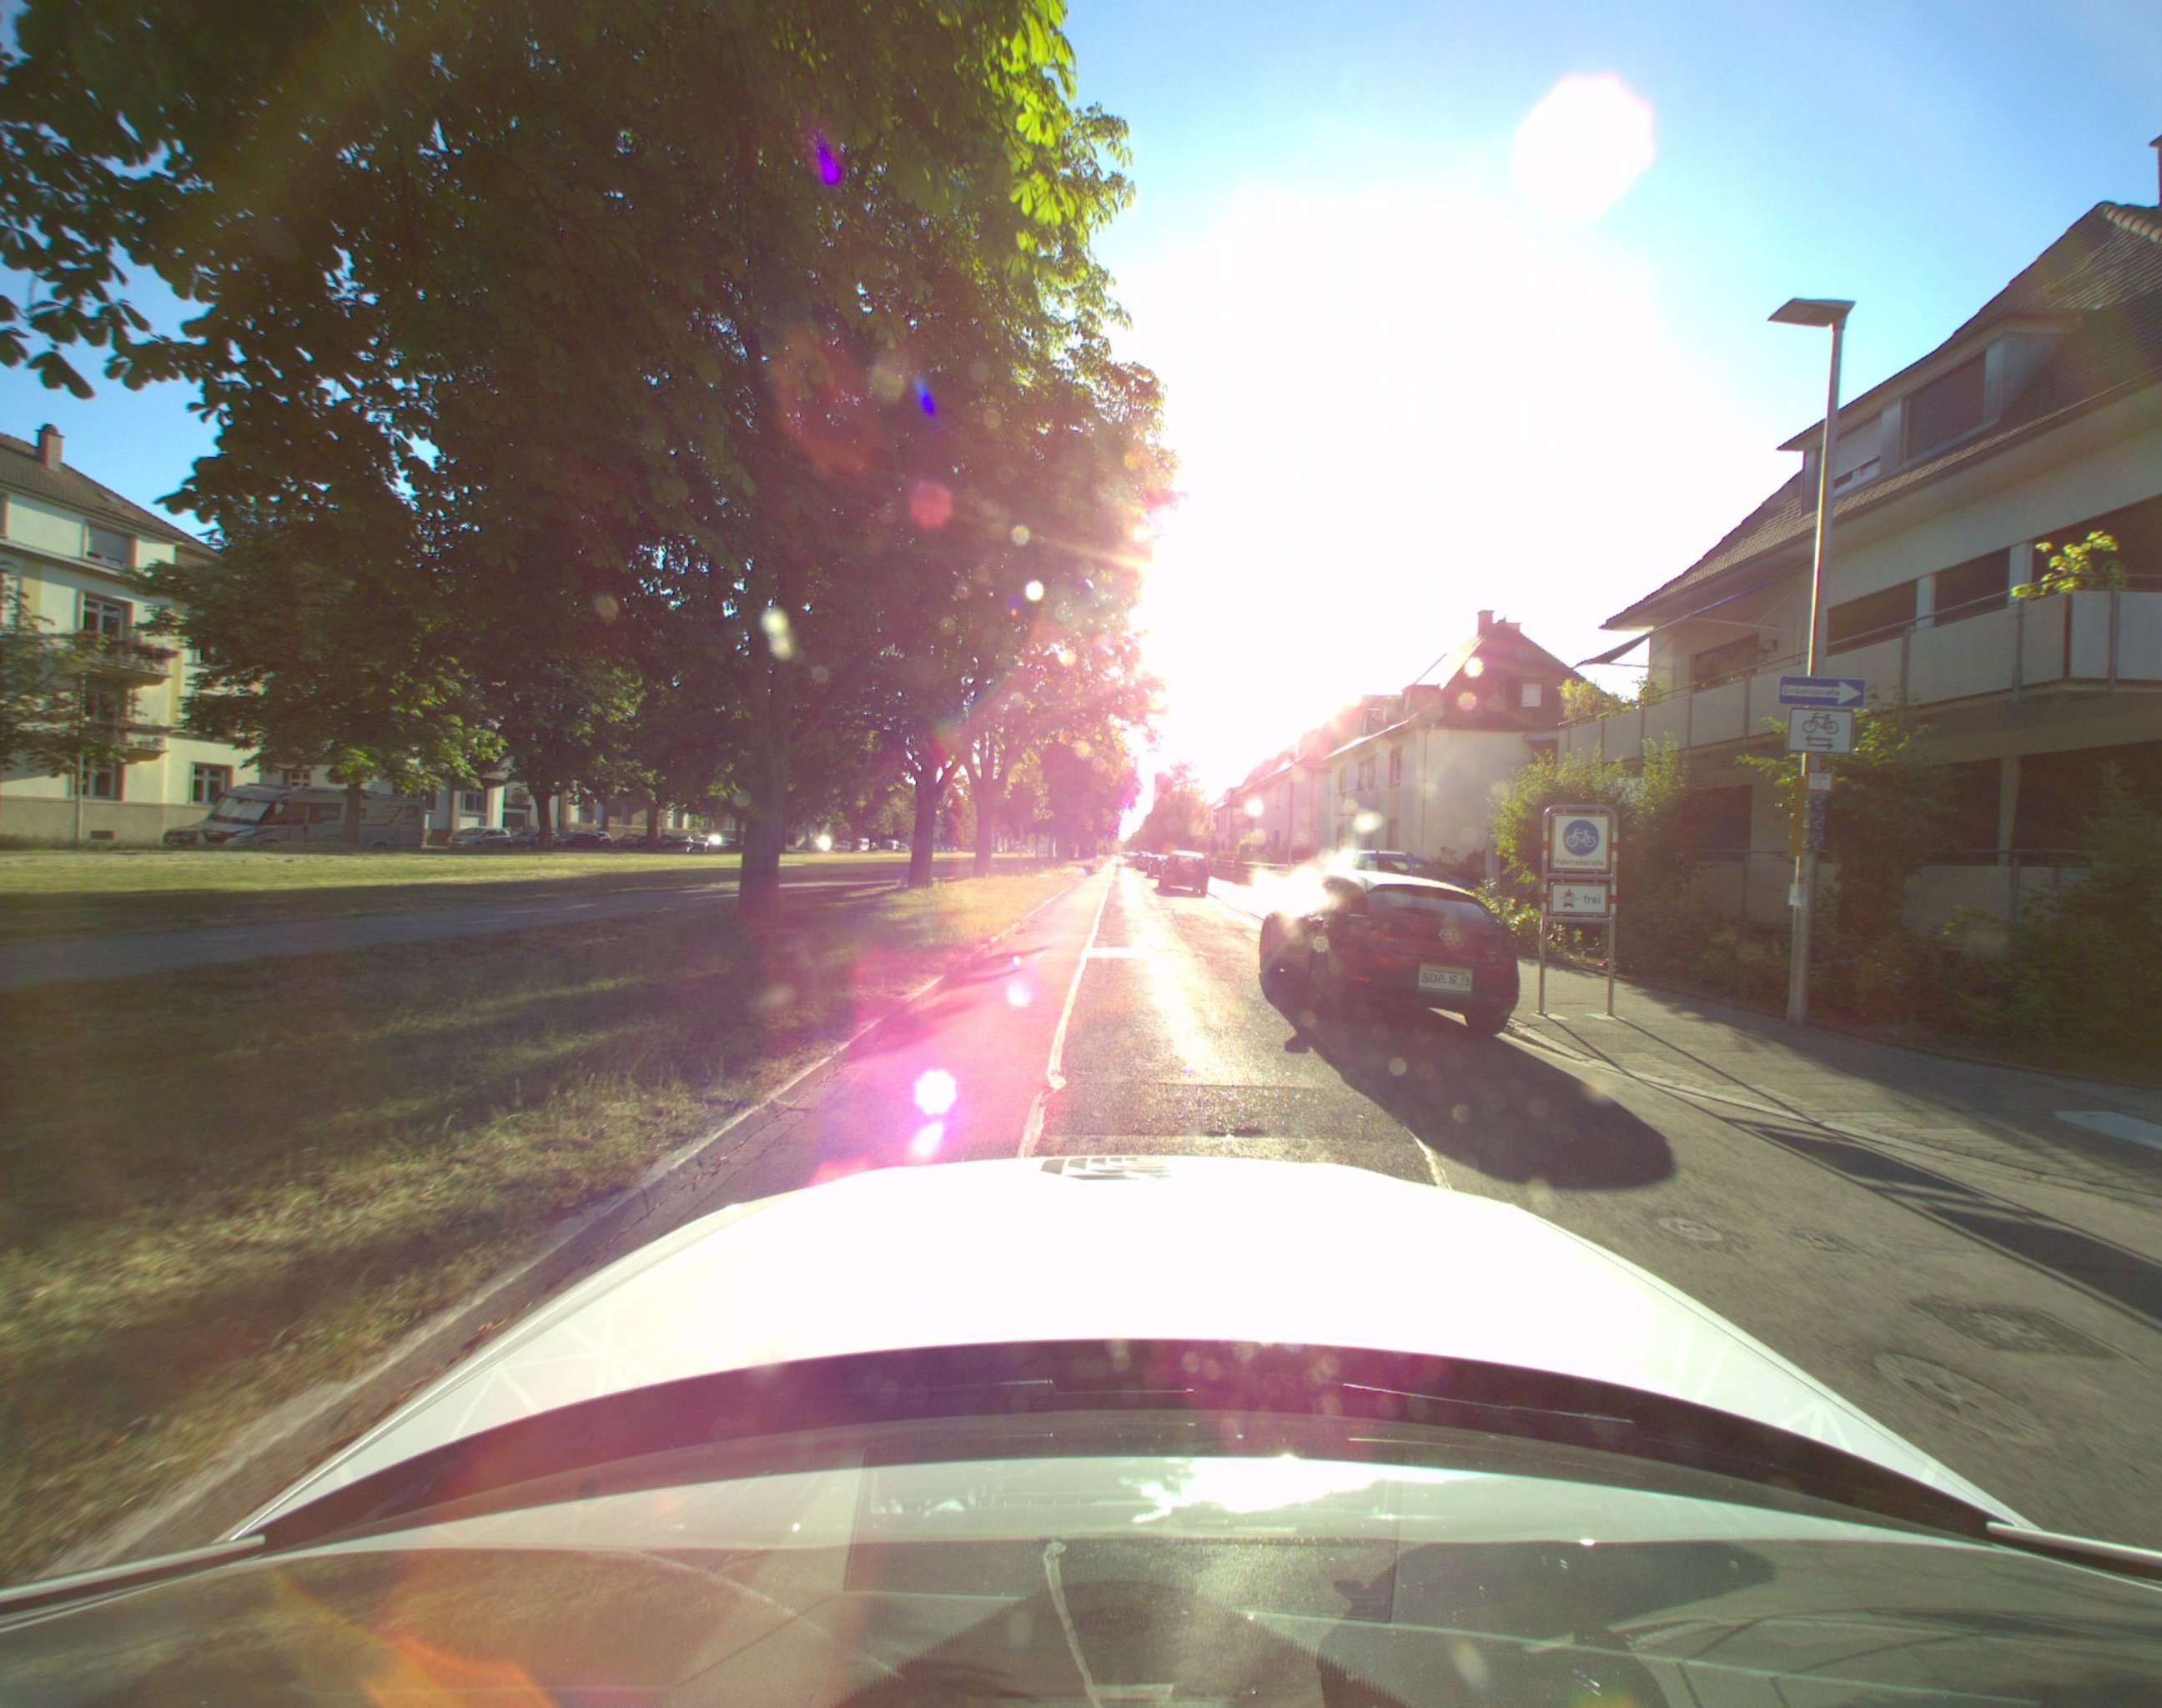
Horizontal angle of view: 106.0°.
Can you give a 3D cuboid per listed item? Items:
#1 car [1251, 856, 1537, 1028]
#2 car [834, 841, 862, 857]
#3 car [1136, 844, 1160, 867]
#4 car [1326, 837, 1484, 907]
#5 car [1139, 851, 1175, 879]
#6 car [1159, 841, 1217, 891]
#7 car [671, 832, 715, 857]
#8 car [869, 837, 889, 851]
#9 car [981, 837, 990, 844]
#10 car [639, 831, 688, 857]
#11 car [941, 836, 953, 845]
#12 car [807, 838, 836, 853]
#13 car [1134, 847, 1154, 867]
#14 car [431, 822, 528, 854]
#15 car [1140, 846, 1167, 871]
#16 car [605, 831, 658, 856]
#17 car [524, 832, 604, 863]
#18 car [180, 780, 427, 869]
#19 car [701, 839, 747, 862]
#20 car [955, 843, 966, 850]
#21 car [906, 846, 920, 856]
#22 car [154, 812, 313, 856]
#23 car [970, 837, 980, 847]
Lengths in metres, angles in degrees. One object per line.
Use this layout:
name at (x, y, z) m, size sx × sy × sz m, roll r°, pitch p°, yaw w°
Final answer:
car at (3.164, 0.790, 9.205) m, size 1.703 × 1.359 × 4.205 m, roll 5°, pitch -1°, yaw 3°
car at (-28.766, -0.613, 100.840) m, size 2.014 × 1.659 × 3.987 m, roll 5°, pitch -1°, yaw 3°
car at (6.450, 0.160, 78.427) m, size 1.986 × 2.013 × 4.001 m, roll 5°, pitch -1°, yaw 2°
car at (9.511, 0.571, 24.129) m, size 3.976 × 1.823 × 1.758 m, roll 2°, pitch -6°, yaw -2°
car at (4.855, 0.686, 52.526) m, size 1.986 × 1.653 × 4.001 m, roll 3°, pitch -1°, yaw 2°
car at (4.504, 0.471, 34.945) m, size 1.986 × 1.903 × 4.391 m, roll 2°, pitch 0°, yaw 2°
car at (-36.309, -0.859, 76.415) m, size 1.987 × 2.013 × 4.000 m, roll 5°, pitch -1°, yaw 1°
car at (-29.822, -1.428, 120.264) m, size 1.722 × 1.689 × 3.878 m, roll 5°, pitch -2°, yaw 1°
car at (-28.915, -4.000, 247.450) m, size 1.986 × 2.013 × 4.002 m, roll 2°, pitch 0°, yaw 2°
car at (-36.333, -0.848, 70.996) m, size 1.987 × 2.013 × 4.000 m, roll 5°, pitch -1°, yaw 1°
car at (-31.855, -3.156, 193.886) m, size 1.986 × 1.913 × 4.002 m, roll 5°, pitch -1°, yaw 2°
car at (-33.849, -1.131, 106.423) m, size 1.985 × 1.659 × 4.359 m, roll 5°, pitch -1°, yaw 4°
car at (7.130, 0.357, 92.640) m, size 1.986 × 2.013 × 4.001 m, roll 5°, pitch -1°, yaw 2°
car at (-37.366, -0.942, 50.787) m, size 1.987 × 1.689 × 5.159 m, roll 5°, pitch -1°, yaw 0°
car at (6.441, 0.431, 72.750) m, size 1.986 × 2.013 × 4.001 m, roll 5°, pitch -1°, yaw 2°
car at (-36.502, -0.807, 66.299) m, size 1.857 × 1.803 × 3.918 m, roll 5°, pitch -1°, yaw 2°
car at (-31.679, -0.335, 50.088) m, size 1.872 × 1.674 × 4.318 m, roll 5°, pitch -1°, yaw 3°
car at (-32.264, -1.100, 34.417) m, size 2.383 × 3.130 × 7.858 m, roll 5°, pitch 0°, yaw 3°
car at (-30.722, -0.281, 70.202) m, size 1.804 × 1.781 × 4.125 m, roll 5°, pitch -1°, yaw 3°
car at (-31.007, -1.918, 209.152) m, size 1.872 × 1.752 × 3.799 m, roll 5°, pitch -1°, yaw 2°
car at (-32.449, -0.606, 157.467) m, size 1.722 × 1.762 × 3.347 m, roll 5°, pitch -1°, yaw 2°
car at (-37.632, -0.829, 36.375) m, size 1.985 × 1.659 × 4.575 m, roll 5°, pitch -1°, yaw 4°
car at (-24.343, -2.770, 187.454) m, size 1.648 × 1.938 × 3.568 m, roll 5°, pitch -2°, yaw 2°
